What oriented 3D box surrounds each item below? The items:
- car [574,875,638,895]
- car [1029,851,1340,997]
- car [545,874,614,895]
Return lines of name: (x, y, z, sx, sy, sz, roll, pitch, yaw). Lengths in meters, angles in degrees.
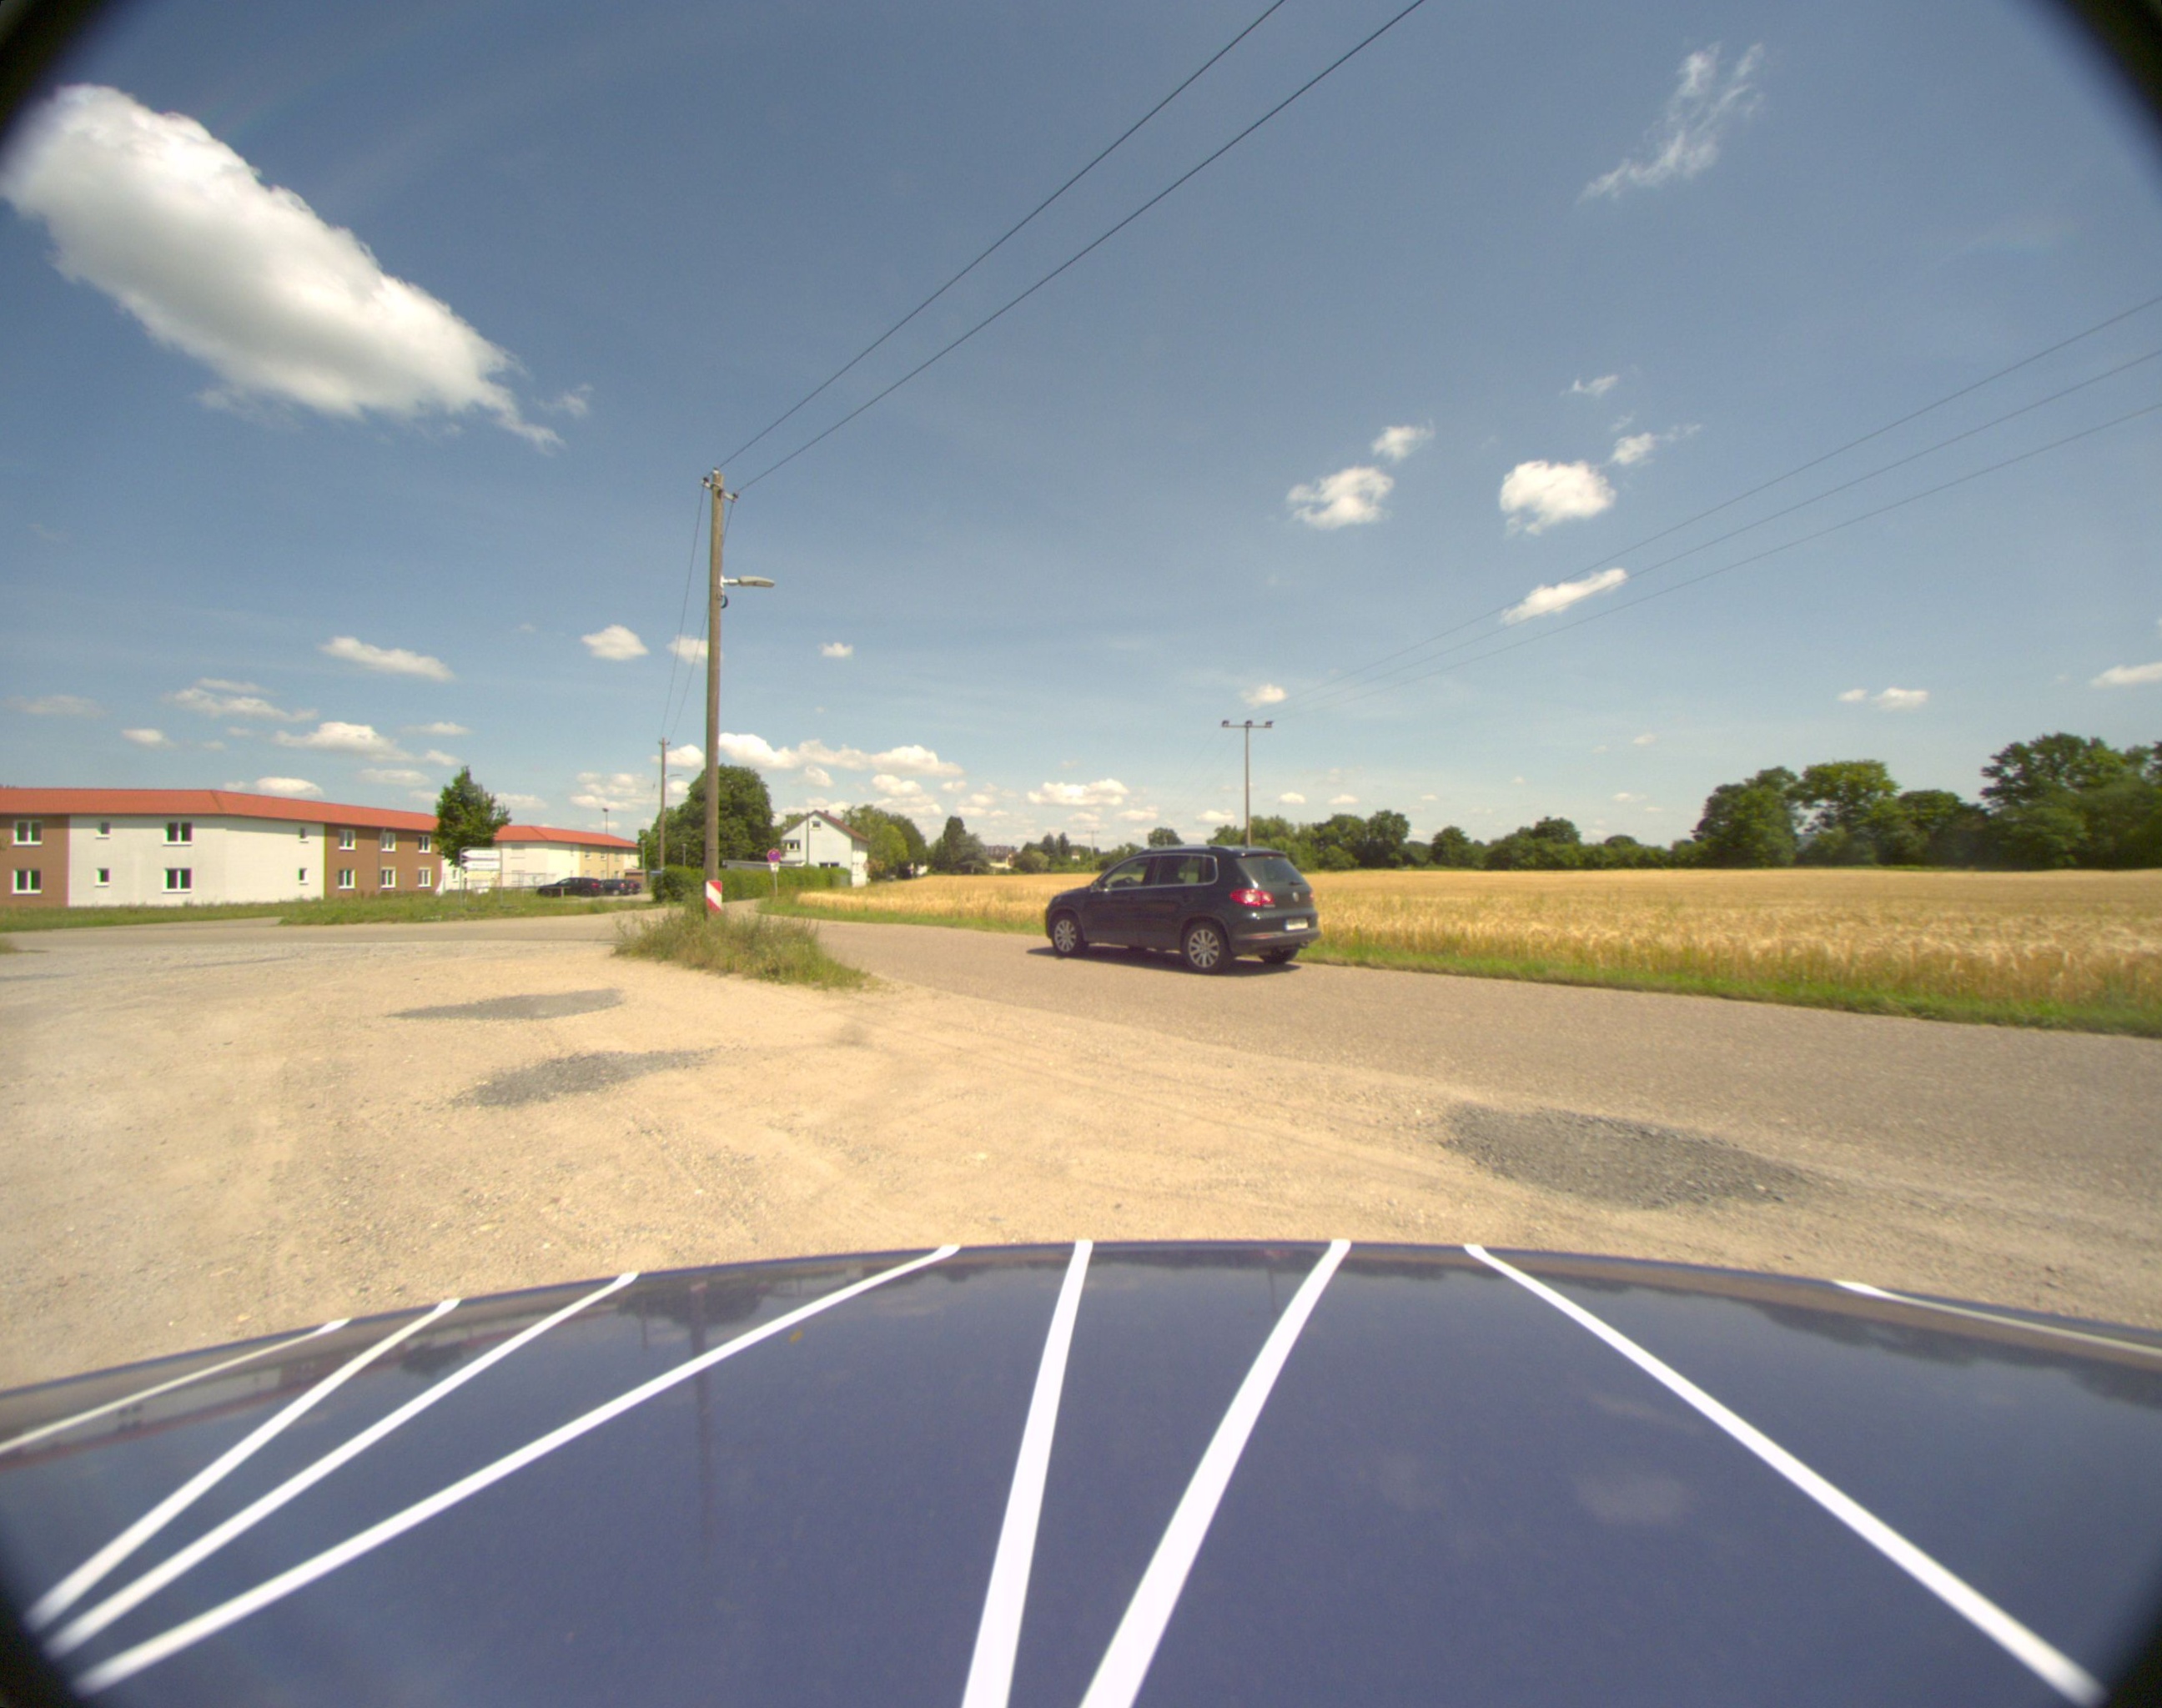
car: (-40.552, 2.641, 64.932, 4.149, 1.605, 1.999, 0, -1, -10)
car: (1.290, 0.828, 10.901, 1.753, 1.669, 4.243, -1, 0, -43)
car: (-40.208, 2.421, 61.004, 4.149, 1.605, 1.999, 0, -1, -10)
